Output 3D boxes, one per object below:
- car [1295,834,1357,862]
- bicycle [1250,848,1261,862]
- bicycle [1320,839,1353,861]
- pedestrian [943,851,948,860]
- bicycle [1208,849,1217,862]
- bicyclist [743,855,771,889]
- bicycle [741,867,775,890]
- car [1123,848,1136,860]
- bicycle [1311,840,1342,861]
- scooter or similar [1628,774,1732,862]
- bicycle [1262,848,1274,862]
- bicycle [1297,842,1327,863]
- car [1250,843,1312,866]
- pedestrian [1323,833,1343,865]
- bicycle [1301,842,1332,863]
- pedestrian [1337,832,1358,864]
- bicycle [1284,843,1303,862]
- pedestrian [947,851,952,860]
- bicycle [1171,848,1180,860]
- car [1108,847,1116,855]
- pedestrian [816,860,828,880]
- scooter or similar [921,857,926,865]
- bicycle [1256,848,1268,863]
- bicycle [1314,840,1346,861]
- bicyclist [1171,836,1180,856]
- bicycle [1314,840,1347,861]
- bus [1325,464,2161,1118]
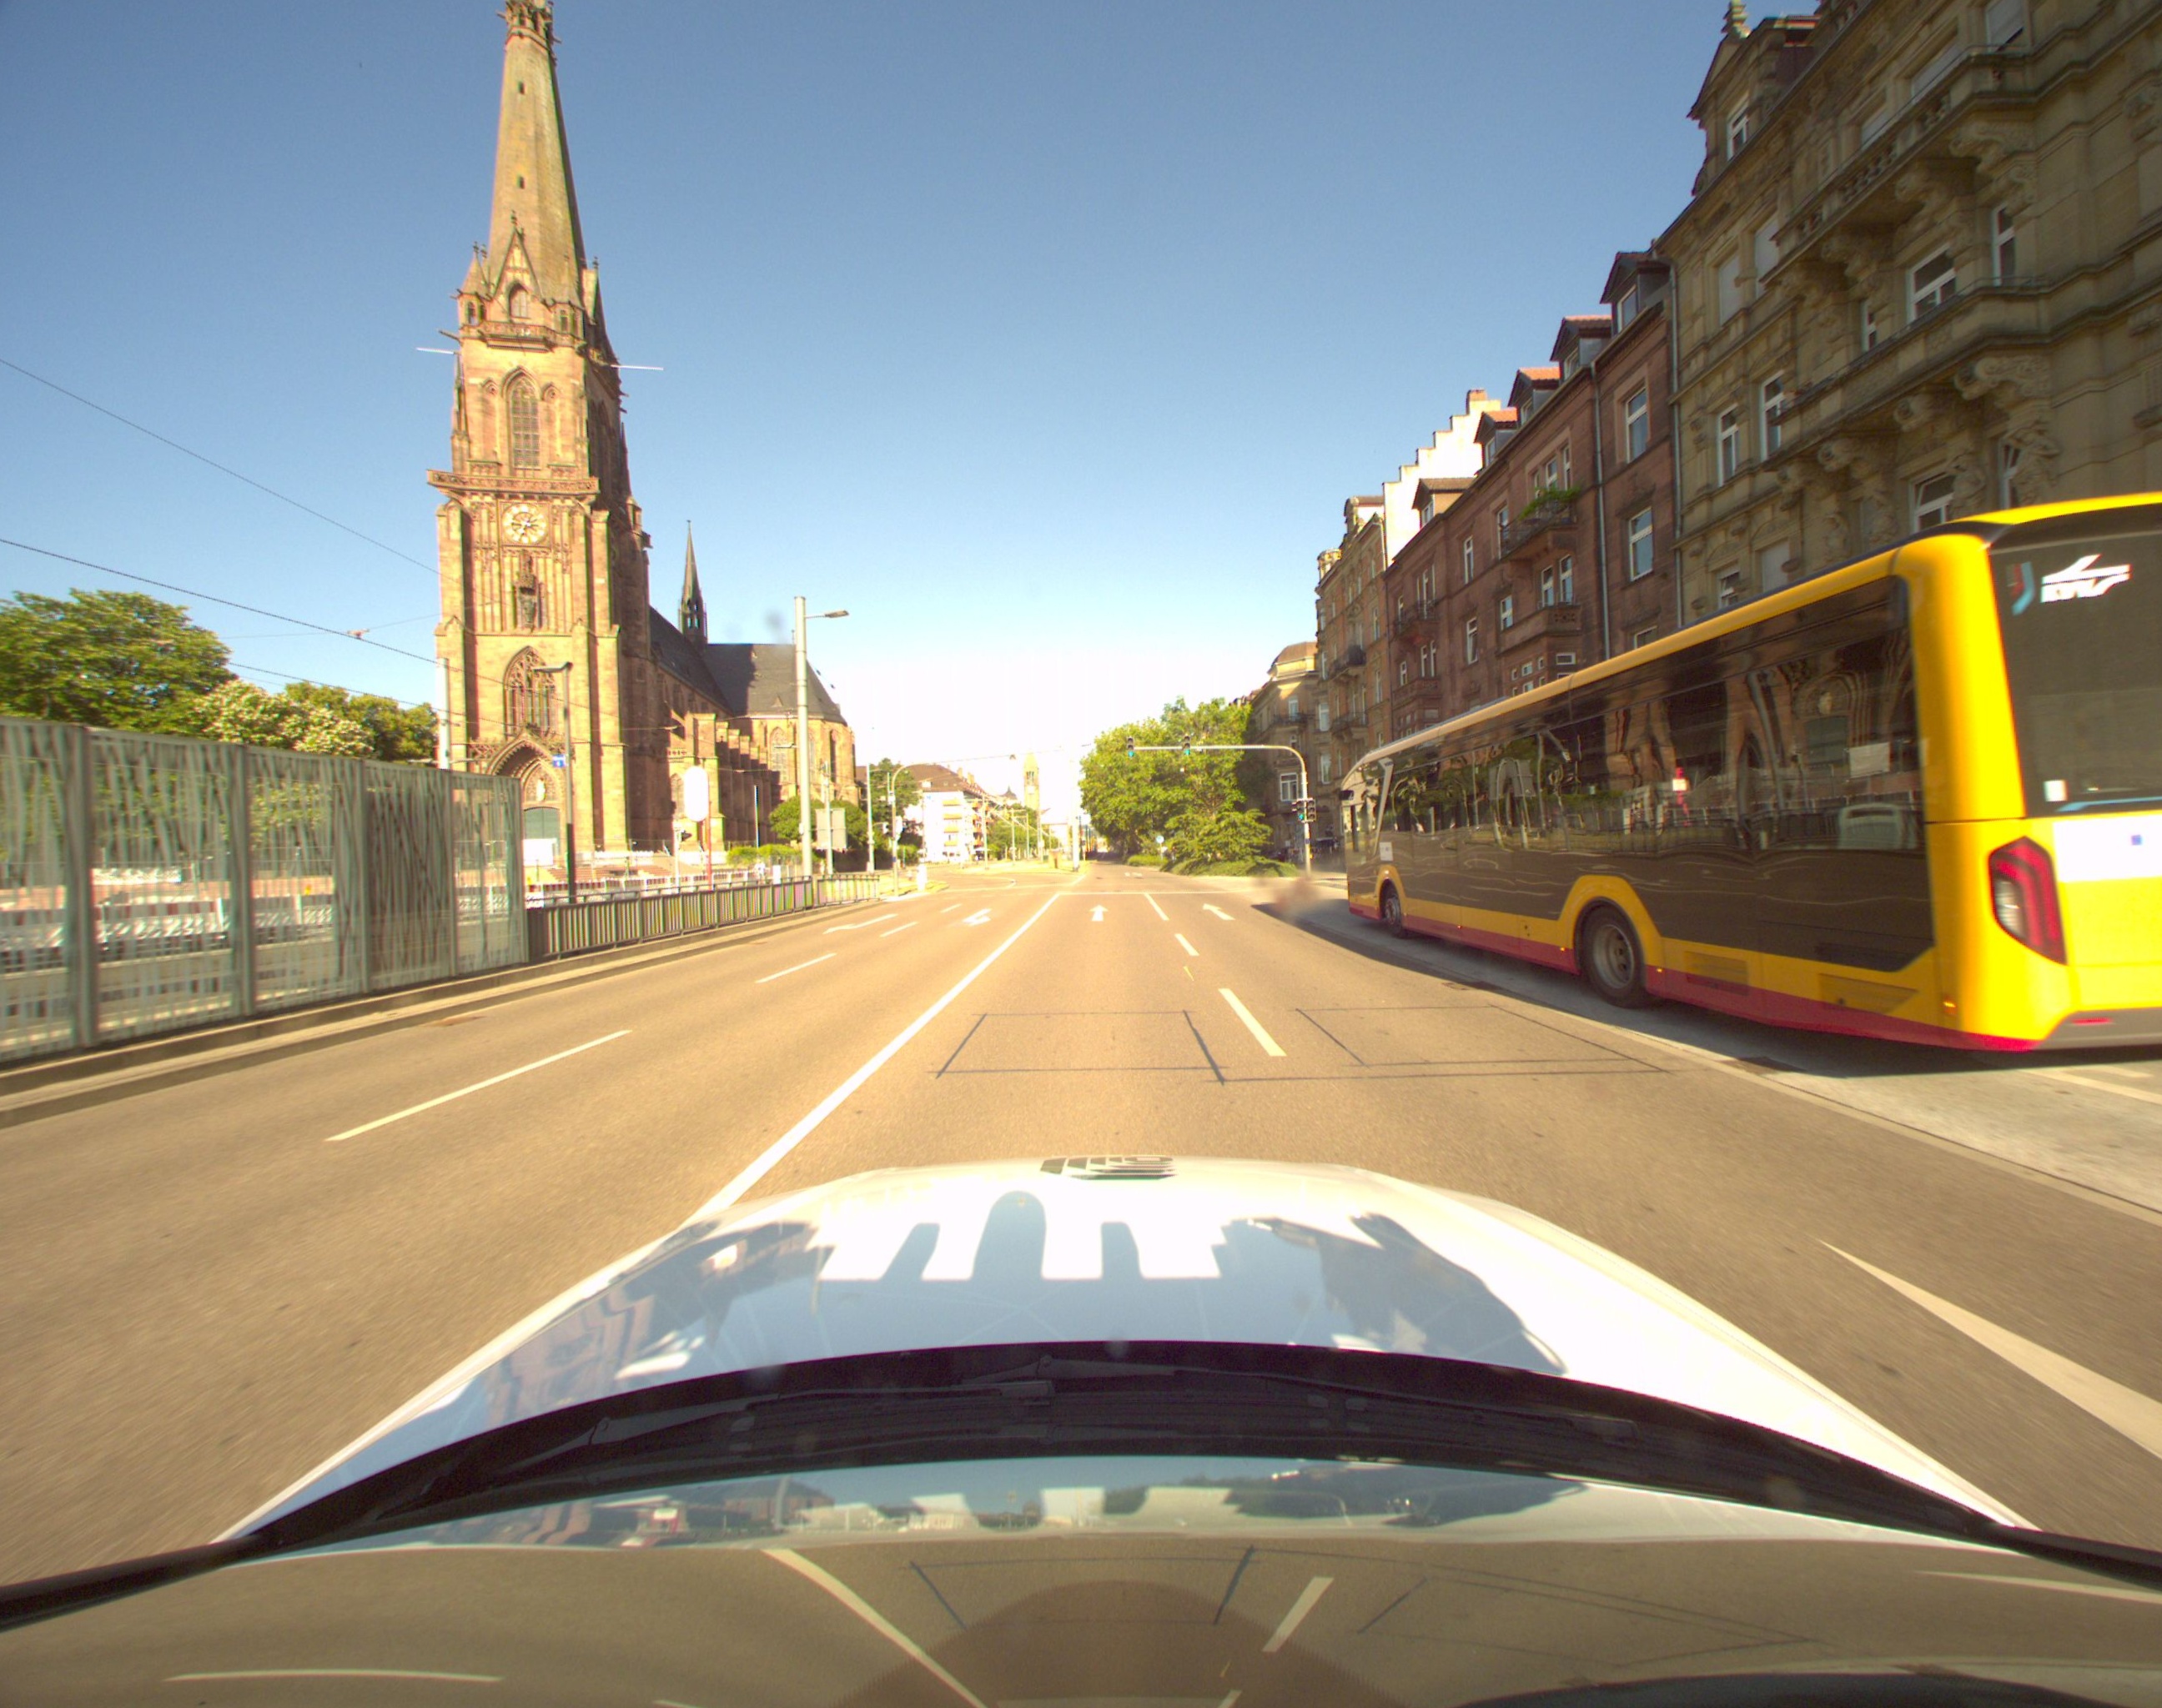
[{"bbox_3d":[20.080,-0.511,66.859,4.562,2.124,1.776,-2,3,0],"label":"car"},{"bbox_3d":[14.518,0.103,67.711,0.516,1.047,1.821,-3,3,1],"label":"bicycle"},{"bbox_3d":[15.953,-0.231,50.919,1.884,1.239,0.489,-3,-1,-11],"label":"bicycle"},{"bbox_3d":[-24.227,0.226,145.230,0.641,1.598,0.899,-3,3,2],"label":"pedestrian"},{"bbox_3d":[11.798,0.136,73.013,0.523,0.988,1.722,-3,3,0],"label":"bicycle"},{"bbox_3d":[-18.955,1.036,47.741,0.961,1.808,1.317,-8,2,-5],"label":"bicyclist"},{"bbox_3d":[-18.914,1.405,47.731,0.961,1.096,2.819,-7,2,-5],"label":"bicycle"},{"bbox_3d":[6.935,-0.026,116.354,1.637,1.511,4.185,-3,1,2],"label":"car"},{"bbox_3d":[15.878,-0.243,52.665,1.884,1.239,0.489,-3,-1,-11],"label":"bicycle"},{"bbox_3d":[9.116,-0.518,12.443,0.431,1.249,1.291,-4,-1,-7],"label":"scooter or similar"},{"bbox_3d":[15.700,0.041,68.388,0.516,1.047,1.821,-3,3,1],"label":"bicycle"},{"bbox_3d":[15.401,-0.111,54.284,1.884,1.239,0.489,-3,-1,-11],"label":"bicycle"},{"bbox_3d":[15.119,0.038,61.571,4.235,1.415,1.814,-3,3,1],"label":"car"},{"bbox_3d":[13.547,-0.287,43.816,0.700,1.655,1.137,-2,0,2],"label":"pedestrian"},{"bbox_3d":[15.528,-0.087,53.695,1.884,1.239,0.489,-3,-1,-11],"label":"bicycle"},{"bbox_3d":[14.342,-0.334,43.816,0.700,1.655,1.137,-2,0,2],"label":"pedestrian"},{"bbox_3d":[14.429,-0.112,55.404,0.488,1.239,1.884,-3,-1,-7],"label":"bicycle"},{"bbox_3d":[-23.408,0.237,145.219,0.587,1.467,0.917,-3,3,2],"label":"pedestrian"},{"bbox_3d":[8.809,-0.015,76.007,0.639,1.048,2.360,-3,-1,1],"label":"bicycle"},{"bbox_3d":[8.607,-0.802,225.978,1.986,2.107,4.002,0,-1,2],"label":"car"},{"bbox_3d":[-23.725,1.473,74.596,0.726,1.773,0.863,-3,3,-1],"label":"pedestrian"},{"bbox_3d":[-26.120,1.102,135.222,0.400,1.261,1.232,-3,3,2],"label":"scooter or similar"},{"bbox_3d":[15.049,0.115,67.710,0.516,1.047,1.821,-3,3,1],"label":"bicycle"},{"bbox_3d":[15.893,-0.212,52.077,1.884,1.239,0.489,-3,-1,-11],"label":"bicycle"},{"bbox_3d":[8.778,-0.704,76.035,0.639,1.815,1.052,-3,-1,1],"label":"bicyclist"},{"bbox_3d":[15.757,-0.218,51.461,1.884,1.239,0.489,-3,-1,-11],"label":"bicycle"},{"bbox_3d":[6.194,-0.413,10.268,2.705,3.181,12.547,-3,0,2],"label":"bus"}]
